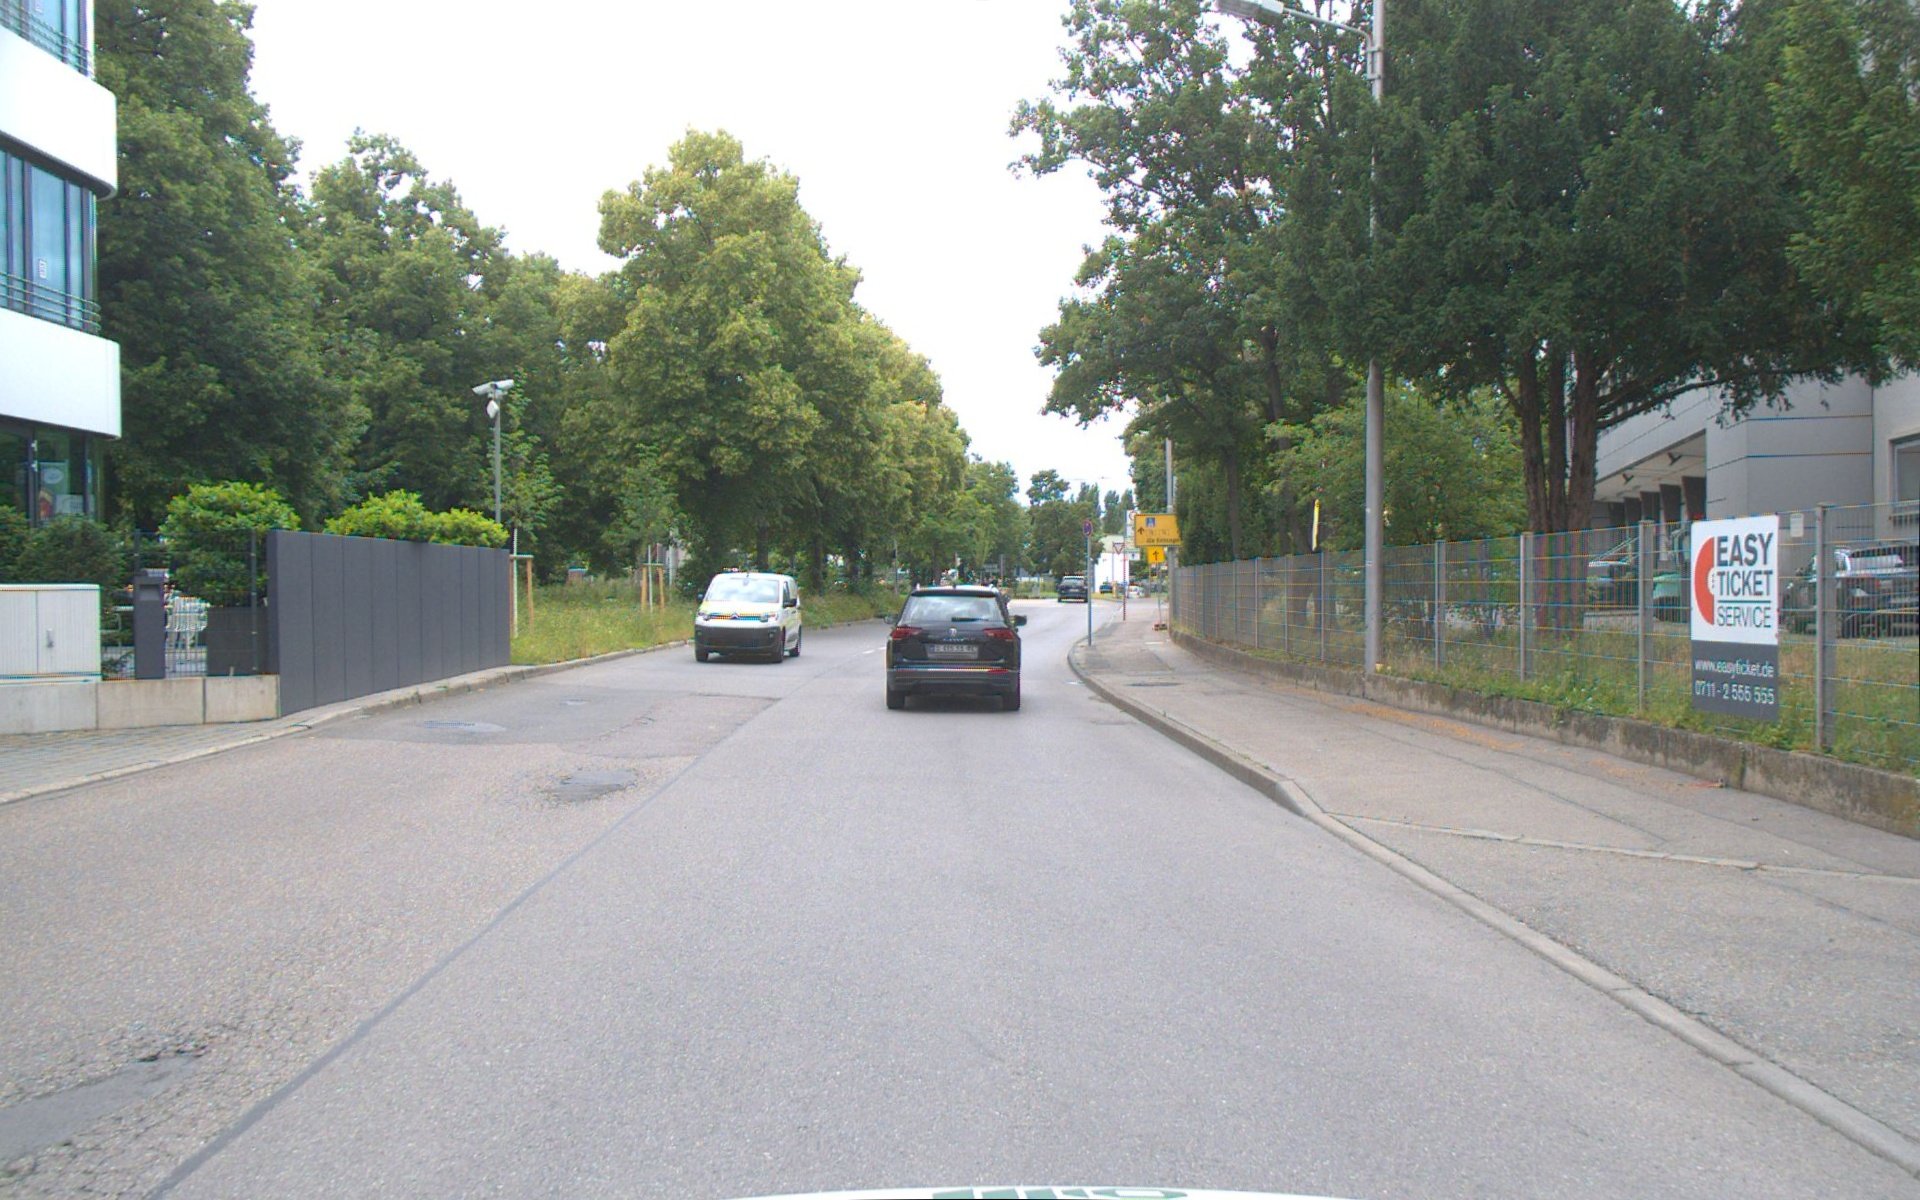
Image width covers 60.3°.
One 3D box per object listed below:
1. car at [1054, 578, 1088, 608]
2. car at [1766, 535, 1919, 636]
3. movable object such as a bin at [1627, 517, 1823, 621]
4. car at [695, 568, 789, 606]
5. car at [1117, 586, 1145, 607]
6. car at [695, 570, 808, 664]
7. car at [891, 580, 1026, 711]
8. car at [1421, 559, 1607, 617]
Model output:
[{"bbox_3d":[6.327,-0.414,94.553,1.625,1.601,3.828,-1,0,-1],"label":"car"},{"bbox_3d":[16.352,-0.310,30.034,1.951,1.594,4.446,-3,1,12],"label":"car"},{"bbox_3d":[18.397,-0.742,39.968,3.902,2.345,1.954,-1,0,11],"label":"movable object such as a bin"},{"bbox_3d":[-14.668,-0.888,111.596,5.945,2.429,2.395,-1,1,1],"label":"car"},{"bbox_3d":[14.639,-0.318,141.762,1.951,1.817,4.004,0,0,12],"label":"car"},{"bbox_3d":[-4.262,0.317,34.351,1.771,1.795,4.205,1,0,0],"label":"car"},{"bbox_3d":[-0.006,0.586,22.757,1.703,1.646,3.641,0,0,0],"label":"car"},{"bbox_3d":[15.632,-0.319,46.835,1.983,1.499,4.620,-2,0,-42],"label":"car"}]
